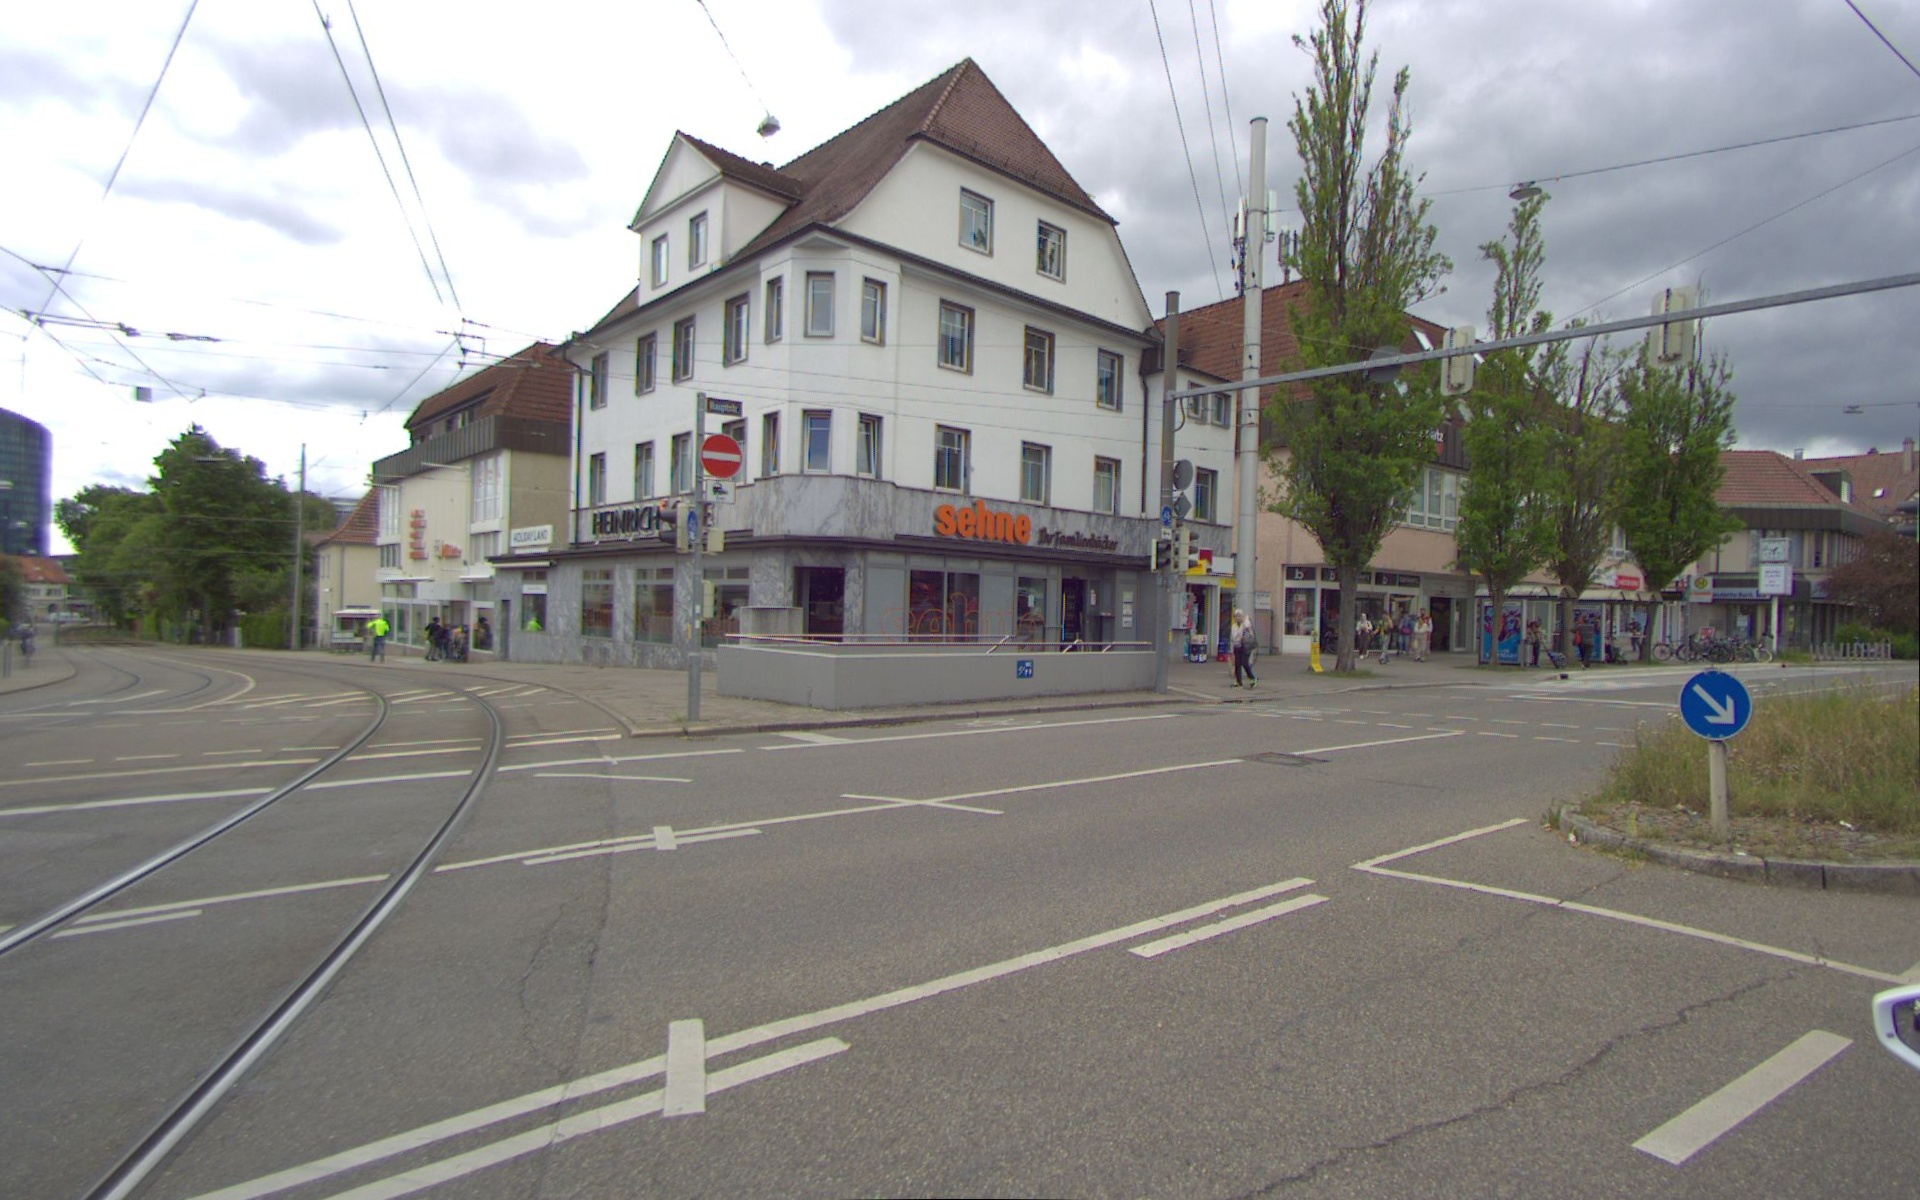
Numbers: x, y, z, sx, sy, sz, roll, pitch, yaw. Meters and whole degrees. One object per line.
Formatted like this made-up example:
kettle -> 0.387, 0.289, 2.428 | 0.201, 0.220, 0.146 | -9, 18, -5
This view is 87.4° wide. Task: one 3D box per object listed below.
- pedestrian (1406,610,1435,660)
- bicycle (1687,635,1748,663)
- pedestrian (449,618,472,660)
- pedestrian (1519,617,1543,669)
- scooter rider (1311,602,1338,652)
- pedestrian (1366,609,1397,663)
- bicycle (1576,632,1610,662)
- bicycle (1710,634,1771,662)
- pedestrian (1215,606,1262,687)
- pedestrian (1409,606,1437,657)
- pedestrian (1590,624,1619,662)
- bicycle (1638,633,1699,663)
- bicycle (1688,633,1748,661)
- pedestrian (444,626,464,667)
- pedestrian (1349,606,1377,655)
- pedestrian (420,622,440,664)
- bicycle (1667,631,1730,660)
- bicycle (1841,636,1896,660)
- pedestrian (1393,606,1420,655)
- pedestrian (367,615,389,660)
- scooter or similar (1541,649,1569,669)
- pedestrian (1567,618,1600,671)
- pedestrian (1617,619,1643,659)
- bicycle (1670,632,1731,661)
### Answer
pedestrian -> 15.679, 1.174, 34.205 | 0.609, 1.656, 0.581 | 1, 3, -38
bicycle -> 32.219, 2.064, 42.723 | 1.997, 1.105, 0.645 | 1, 0, 45
pedestrian -> -20.383, 1.581, 40.980 | 0.578, 1.656, 0.613 | 4, 3, 32
pedestrian -> 19.182, 1.430, 33.747 | 0.578, 1.675, 0.711 | 2, 1, 35
scooter rider -> 13.065, 0.966, 36.026 | 0.583, 1.735, 0.608 | 1, 3, -40
pedestrian -> 13.463, 1.142, 32.094 | 0.609, 1.656, 0.581 | 1, 3, -38
bicycle -> 24.709, 1.823, 39.203 | 1.914, 1.105, 0.529 | 2, 1, -39
bicycle -> 33.688, 2.053, 43.370 | 1.997, 1.105, 0.645 | 1, 0, 45
pedestrian -> 6.001, 0.985, 21.634 | 0.692, 1.656, 0.611 | 5, 4, 43
pedestrian -> 16.379, 1.107, 35.514 | 0.609, 1.735, 0.581 | 1, 3, -38
pedestrian -> 24.270, 1.608, 37.834 | 0.582, 1.382, 0.707 | 0, 1, -34
bicycle -> 29.226, 1.972, 41.473 | 1.994, 1.105, 0.646 | 2, 1, 40
bicycle -> 32.662, 2.014, 43.286 | 1.997, 1.105, 0.645 | 1, 0, 45
pedestrian -> -20.876, 1.916, 41.438 | 0.610, 1.656, 0.581 | 0, 4, -41
pedestrian -> 13.883, 1.046, 34.585 | 0.609, 1.656, 0.581 | 1, 3, -38
pedestrian -> -21.944, 1.763, 41.589 | 0.610, 1.656, 0.581 | 0, 4, -41
bicycle -> 30.423, 1.850, 41.388 | 0.644, 1.105, 2.000 | 1, 0, -41
bicycle -> 45.276, 2.366, 50.094 | 1.997, 1.105, 0.645 | 1, 0, 45
pedestrian -> 16.170, 1.106, 36.397 | 0.609, 1.735, 0.581 | 1, 3, -38
pedestrian -> -22.169, 1.402, 38.252 | 0.583, 1.656, 0.607 | 0, 4, -42
scooter or similar -> 19.878, 1.960, 33.546 | 0.696, 0.609, 0.587 | 1, 0, -37
pedestrian -> 20.054, 1.421, 32.333 | 0.704, 1.675, 0.584 | 1, 1, -27
pedestrian -> 31.246, 1.794, 46.822 | 0.749, 1.788, 0.720 | 1, 3, -39
bicycle -> 31.112, 1.941, 42.216 | 1.997, 1.105, 0.645 | 1, 0, 45
